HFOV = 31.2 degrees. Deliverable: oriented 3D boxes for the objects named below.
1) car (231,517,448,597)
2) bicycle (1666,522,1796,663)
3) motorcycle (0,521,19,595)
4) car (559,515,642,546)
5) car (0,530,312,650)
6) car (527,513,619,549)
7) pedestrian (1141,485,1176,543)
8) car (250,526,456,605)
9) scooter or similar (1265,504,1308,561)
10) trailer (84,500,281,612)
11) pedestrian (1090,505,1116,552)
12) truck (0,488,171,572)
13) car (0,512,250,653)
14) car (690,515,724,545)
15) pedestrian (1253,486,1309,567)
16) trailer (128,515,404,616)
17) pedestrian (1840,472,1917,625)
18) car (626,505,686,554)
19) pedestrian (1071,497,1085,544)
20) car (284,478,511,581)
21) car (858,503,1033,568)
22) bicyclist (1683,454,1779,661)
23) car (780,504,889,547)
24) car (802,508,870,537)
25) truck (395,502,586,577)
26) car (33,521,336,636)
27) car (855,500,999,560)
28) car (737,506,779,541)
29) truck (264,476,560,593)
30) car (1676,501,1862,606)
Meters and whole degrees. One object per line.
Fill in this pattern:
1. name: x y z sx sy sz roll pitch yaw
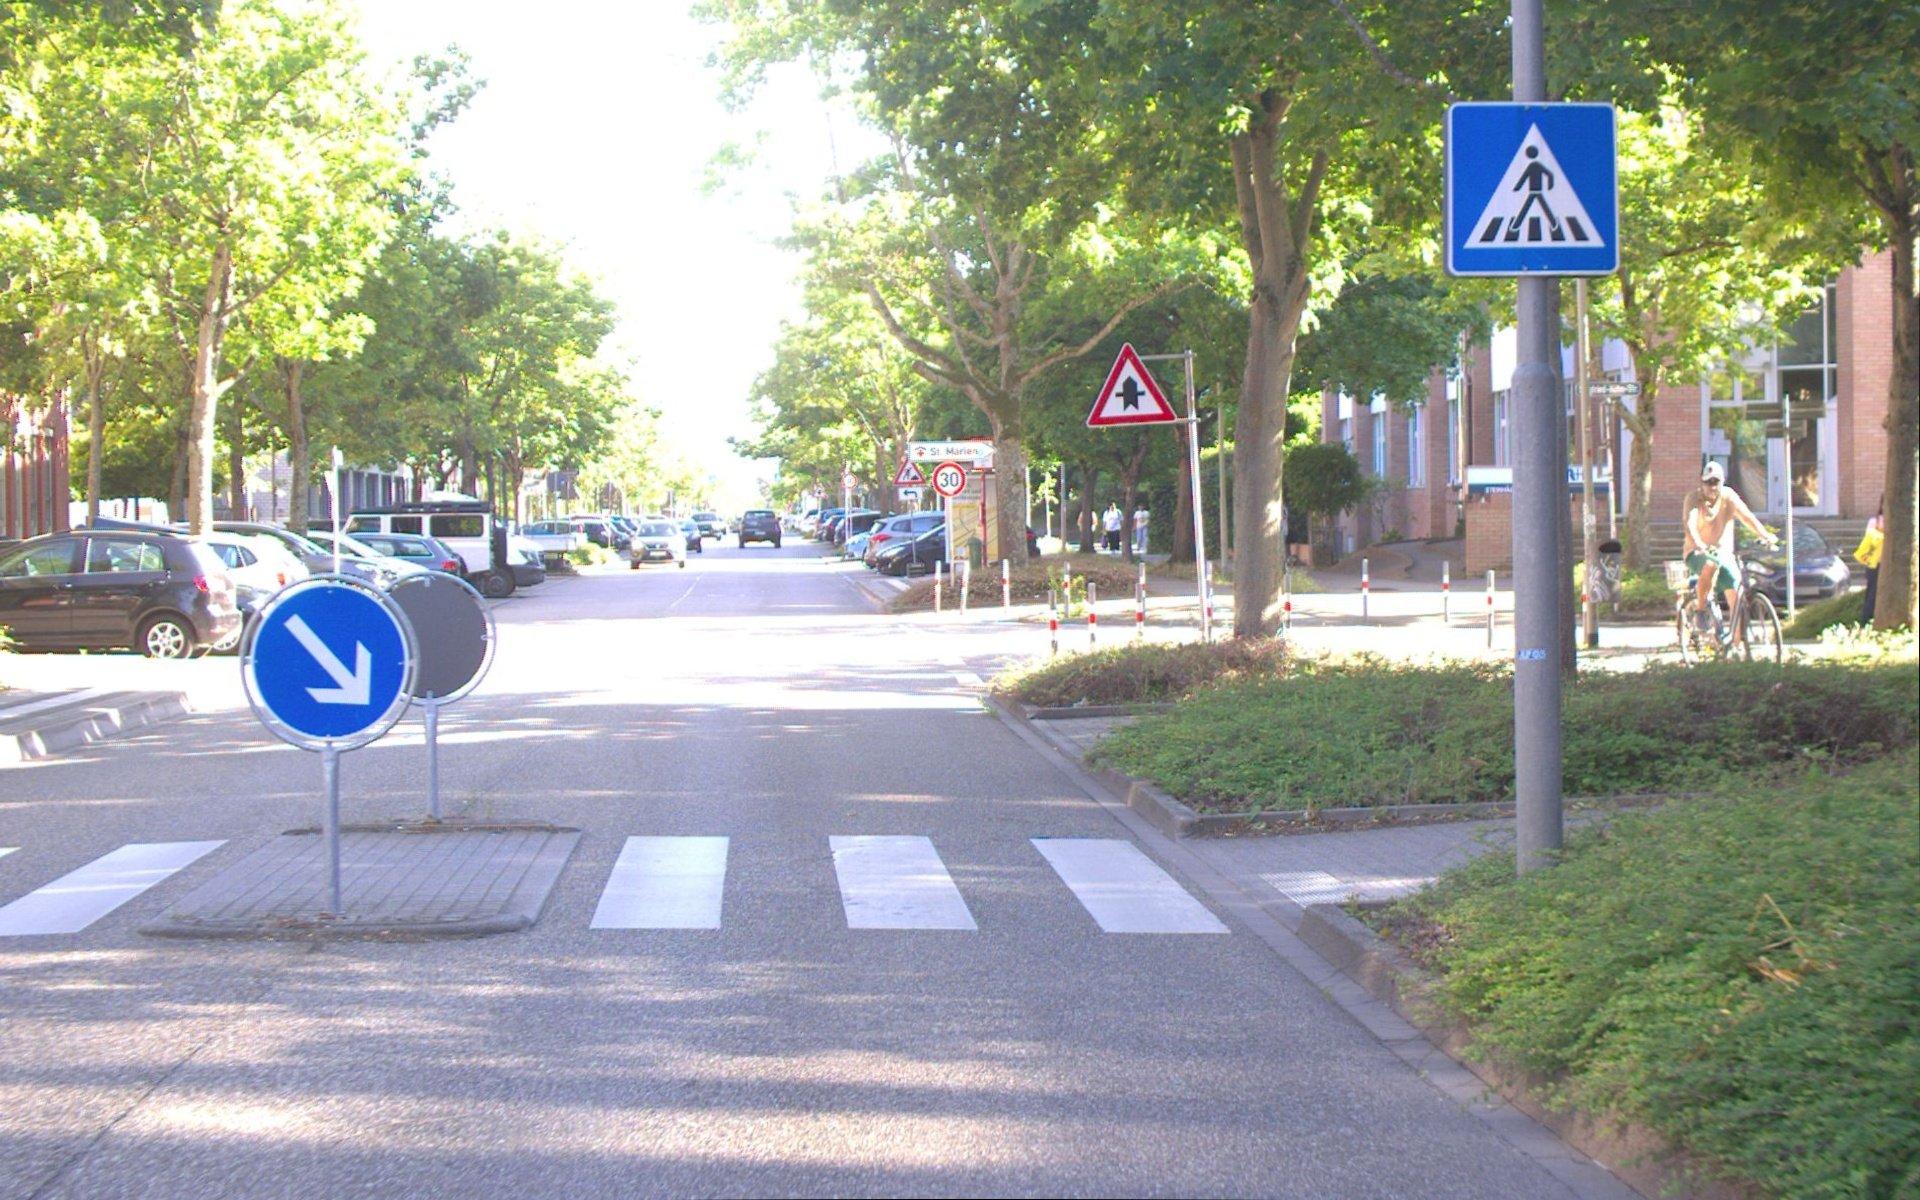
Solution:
1. car: -11.837 -0.829 65.726 3.834 1.456 1.732 1 1 0
2. bicycle: 6.185 -0.078 27.653 0.534 1.074 1.920 -1 2 -2
3. motorcycle: -21.090 -0.920 74.937 0.714 1.585 2.110 -1 2 -5
4. car: -17.281 -3.339 165.299 3.892 1.459 1.858 -1 1 -4
5. car: -10.460 -0.142 43.691 4.151 1.398 1.801 1 1 -4
6. car: -16.186 -2.887 143.978 3.732 1.459 1.677 -1 1 -4
7. pedestrian: 5.991 -2.600 103.842 0.695 1.705 0.921 -4 2 -14
8. car: -11.951 -0.689 67.883 3.778 1.487 1.833 1 1 -2
9. scooter or similar: 7.638 -1.583 80.474 0.548 1.321 1.806 1 1 -8
10. trailer: -12.109 -0.696 53.659 2.725 1.681 1.712 1 1 -3
11. pedestrian: 4.450 -2.225 106.943 0.700 1.453 0.716 -2 2 -6
12. truck: -30.096 -2.375 116.702 6.103 2.695 2.578 -1 1 -5
13. car: -10.601 -0.240 40.920 3.986 1.565 1.728 2 1 -4
14. car: -14.697 -4.077 199.564 1.891 1.678 4.354 -1 2 -5
15. pedestrian: 7.050 -1.614 75.497 0.917 1.705 0.698 -5 2 -16
16. trailer: -11.278 -0.572 56.066 4.259 1.566 1.857 1 1 -7
17. pedestrian: 9.619 -0.546 36.008 0.537 1.577 0.648 -1 2 -13
18. car: -9.689 -2.269 109.758 1.779 1.506 4.001 -1 1 -3
19. pedestrian: 3.669 -2.464 106.808 0.380 1.436 0.433 1 1 -6
20. car: -11.621 -1.454 71.222 4.481 2.044 2.000 1 1 -5
21. car: -0.407 -1.713 91.164 4.351 1.592 1.940 -2 1 -9
22. bicyclist: 6.186 -0.348 27.609 0.537 1.631 0.823 -1 1 -2
23. car: -5.130 -3.033 139.846 4.267 1.628 1.859 -2 1 -6
24. car: -7.612 -4.771 211.475 3.986 1.786 2.001 -1 1 -8
25. truck: -13.051 -1.693 95.745 4.985 1.952 2.138 -1 1 -1
26. car: -10.481 -0.304 46.666 3.754 1.447 1.755 1 1 -4
27. car: -1.077 -2.248 109.945 4.404 1.612 1.912 -4 2 -4
28. car: -9.613 -3.654 163.662 1.933 1.592 4.367 -1 2 -4
29. truck: -12.135 -1.473 76.434 6.231 2.413 2.188 -1 1 -3
30. car: 12.017 -0.722 51.280 1.652 1.457 3.918 -1 2 -3
